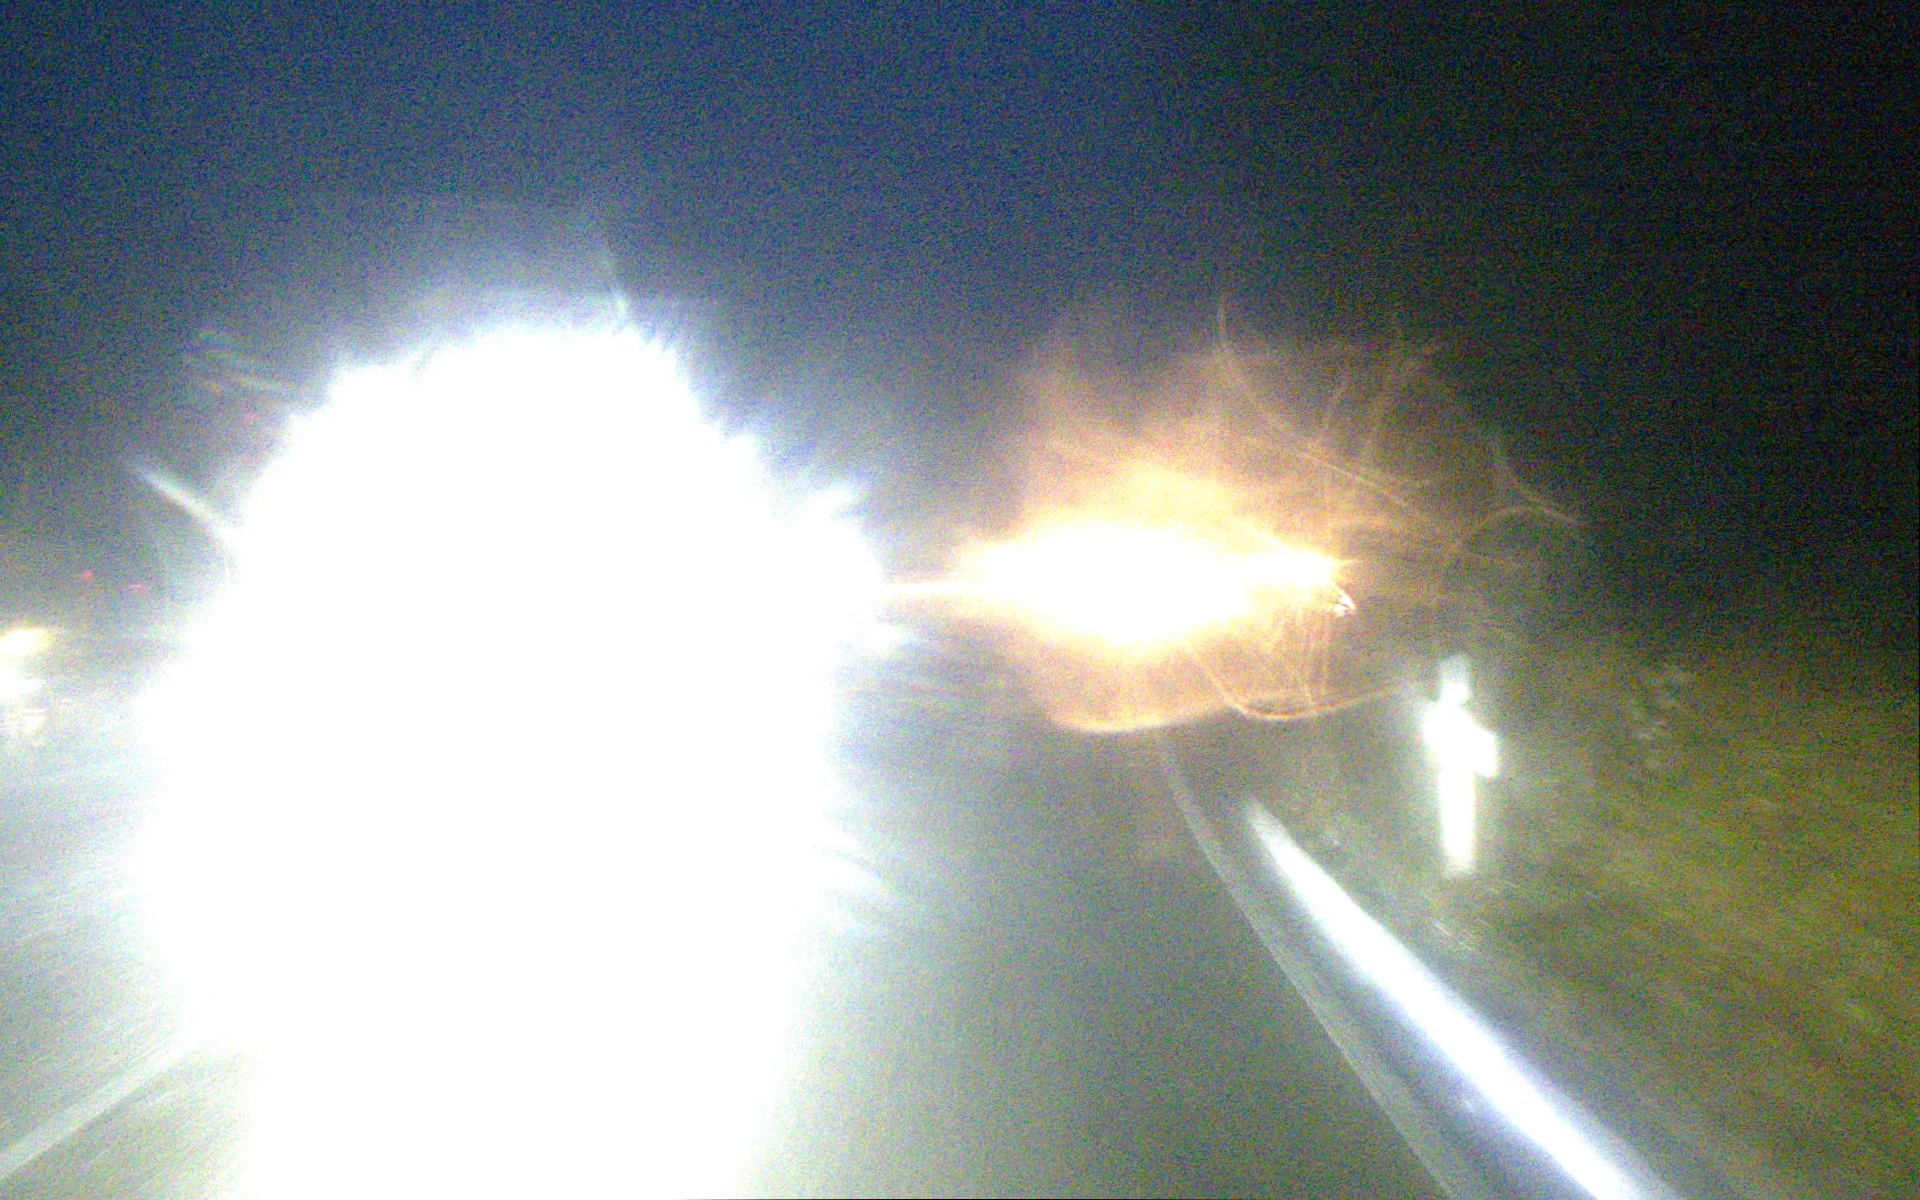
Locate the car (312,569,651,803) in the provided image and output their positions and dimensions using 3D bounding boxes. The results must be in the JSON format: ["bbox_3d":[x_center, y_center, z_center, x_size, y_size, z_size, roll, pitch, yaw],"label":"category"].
[{"bbox_3d":[-3.695,0.637,27.375,1.993,1.687,4.698,0,0,0],"label":"car"}]
